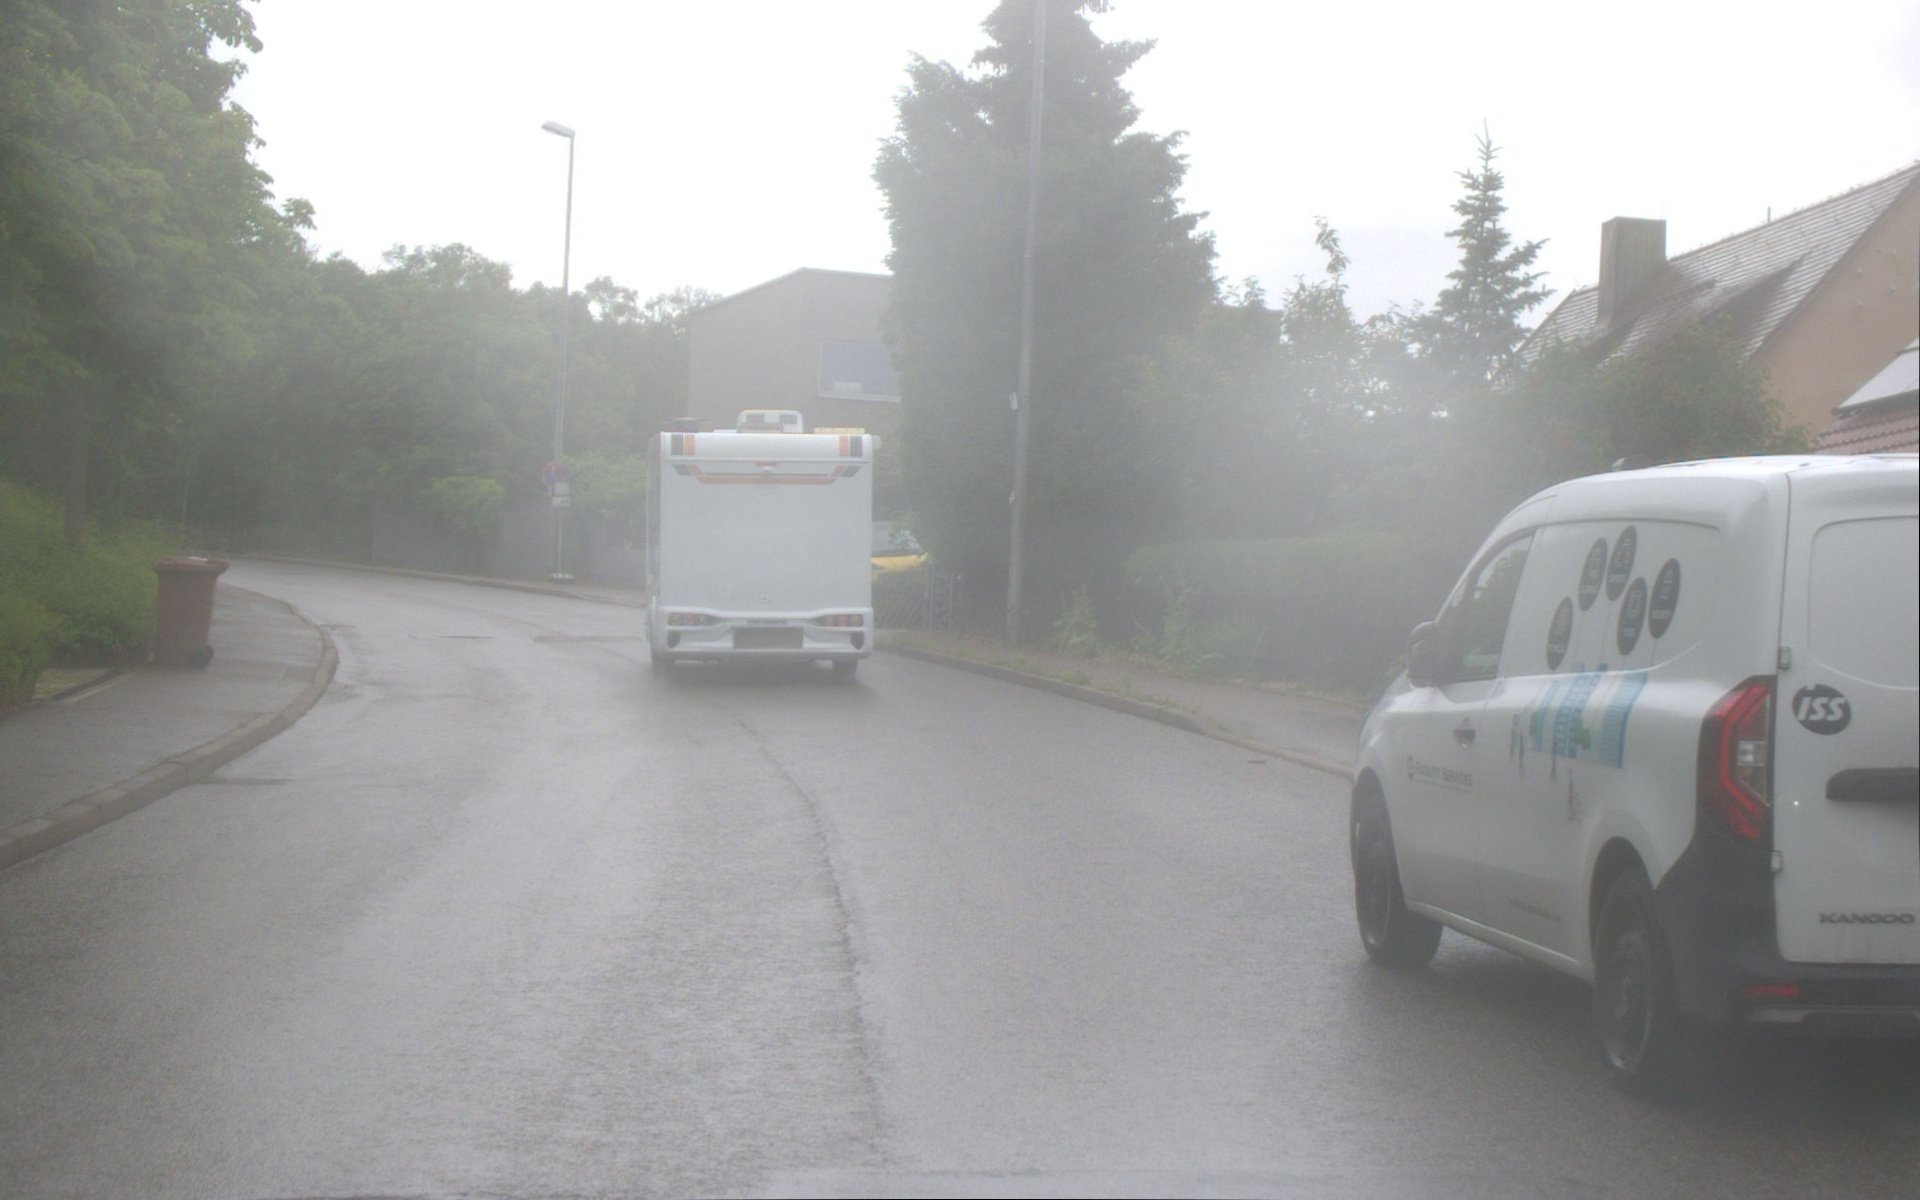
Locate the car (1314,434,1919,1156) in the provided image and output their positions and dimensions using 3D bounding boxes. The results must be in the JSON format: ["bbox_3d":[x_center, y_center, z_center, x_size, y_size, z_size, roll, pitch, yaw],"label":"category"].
[{"bbox_3d":[2.500,0.462,10.978,1.778,1.797,4.708,1,1,-6],"label":"car"}]

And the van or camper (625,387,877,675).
[{"bbox_3d":[-2.322,-0.749,38.254,2.540,2.915,5.949,1,1,-3],"label":"van or camper"}]

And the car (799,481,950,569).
[{"bbox_3d":[-1.610,-1.393,63.764,1.627,1.488,3.428,-5,3,-22],"label":"car"}]

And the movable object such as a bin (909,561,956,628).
[{"bbox_3d":[-0.421,-0.086,52.128,0.504,0.966,0.595,5,0,-15],"label":"movable object such as a bin"}]

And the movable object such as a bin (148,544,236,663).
[{"bbox_3d":[-7.689,0.028,34.452,0.694,1.086,0.803,4,5,-4],"label":"movable object such as a bin"}]
